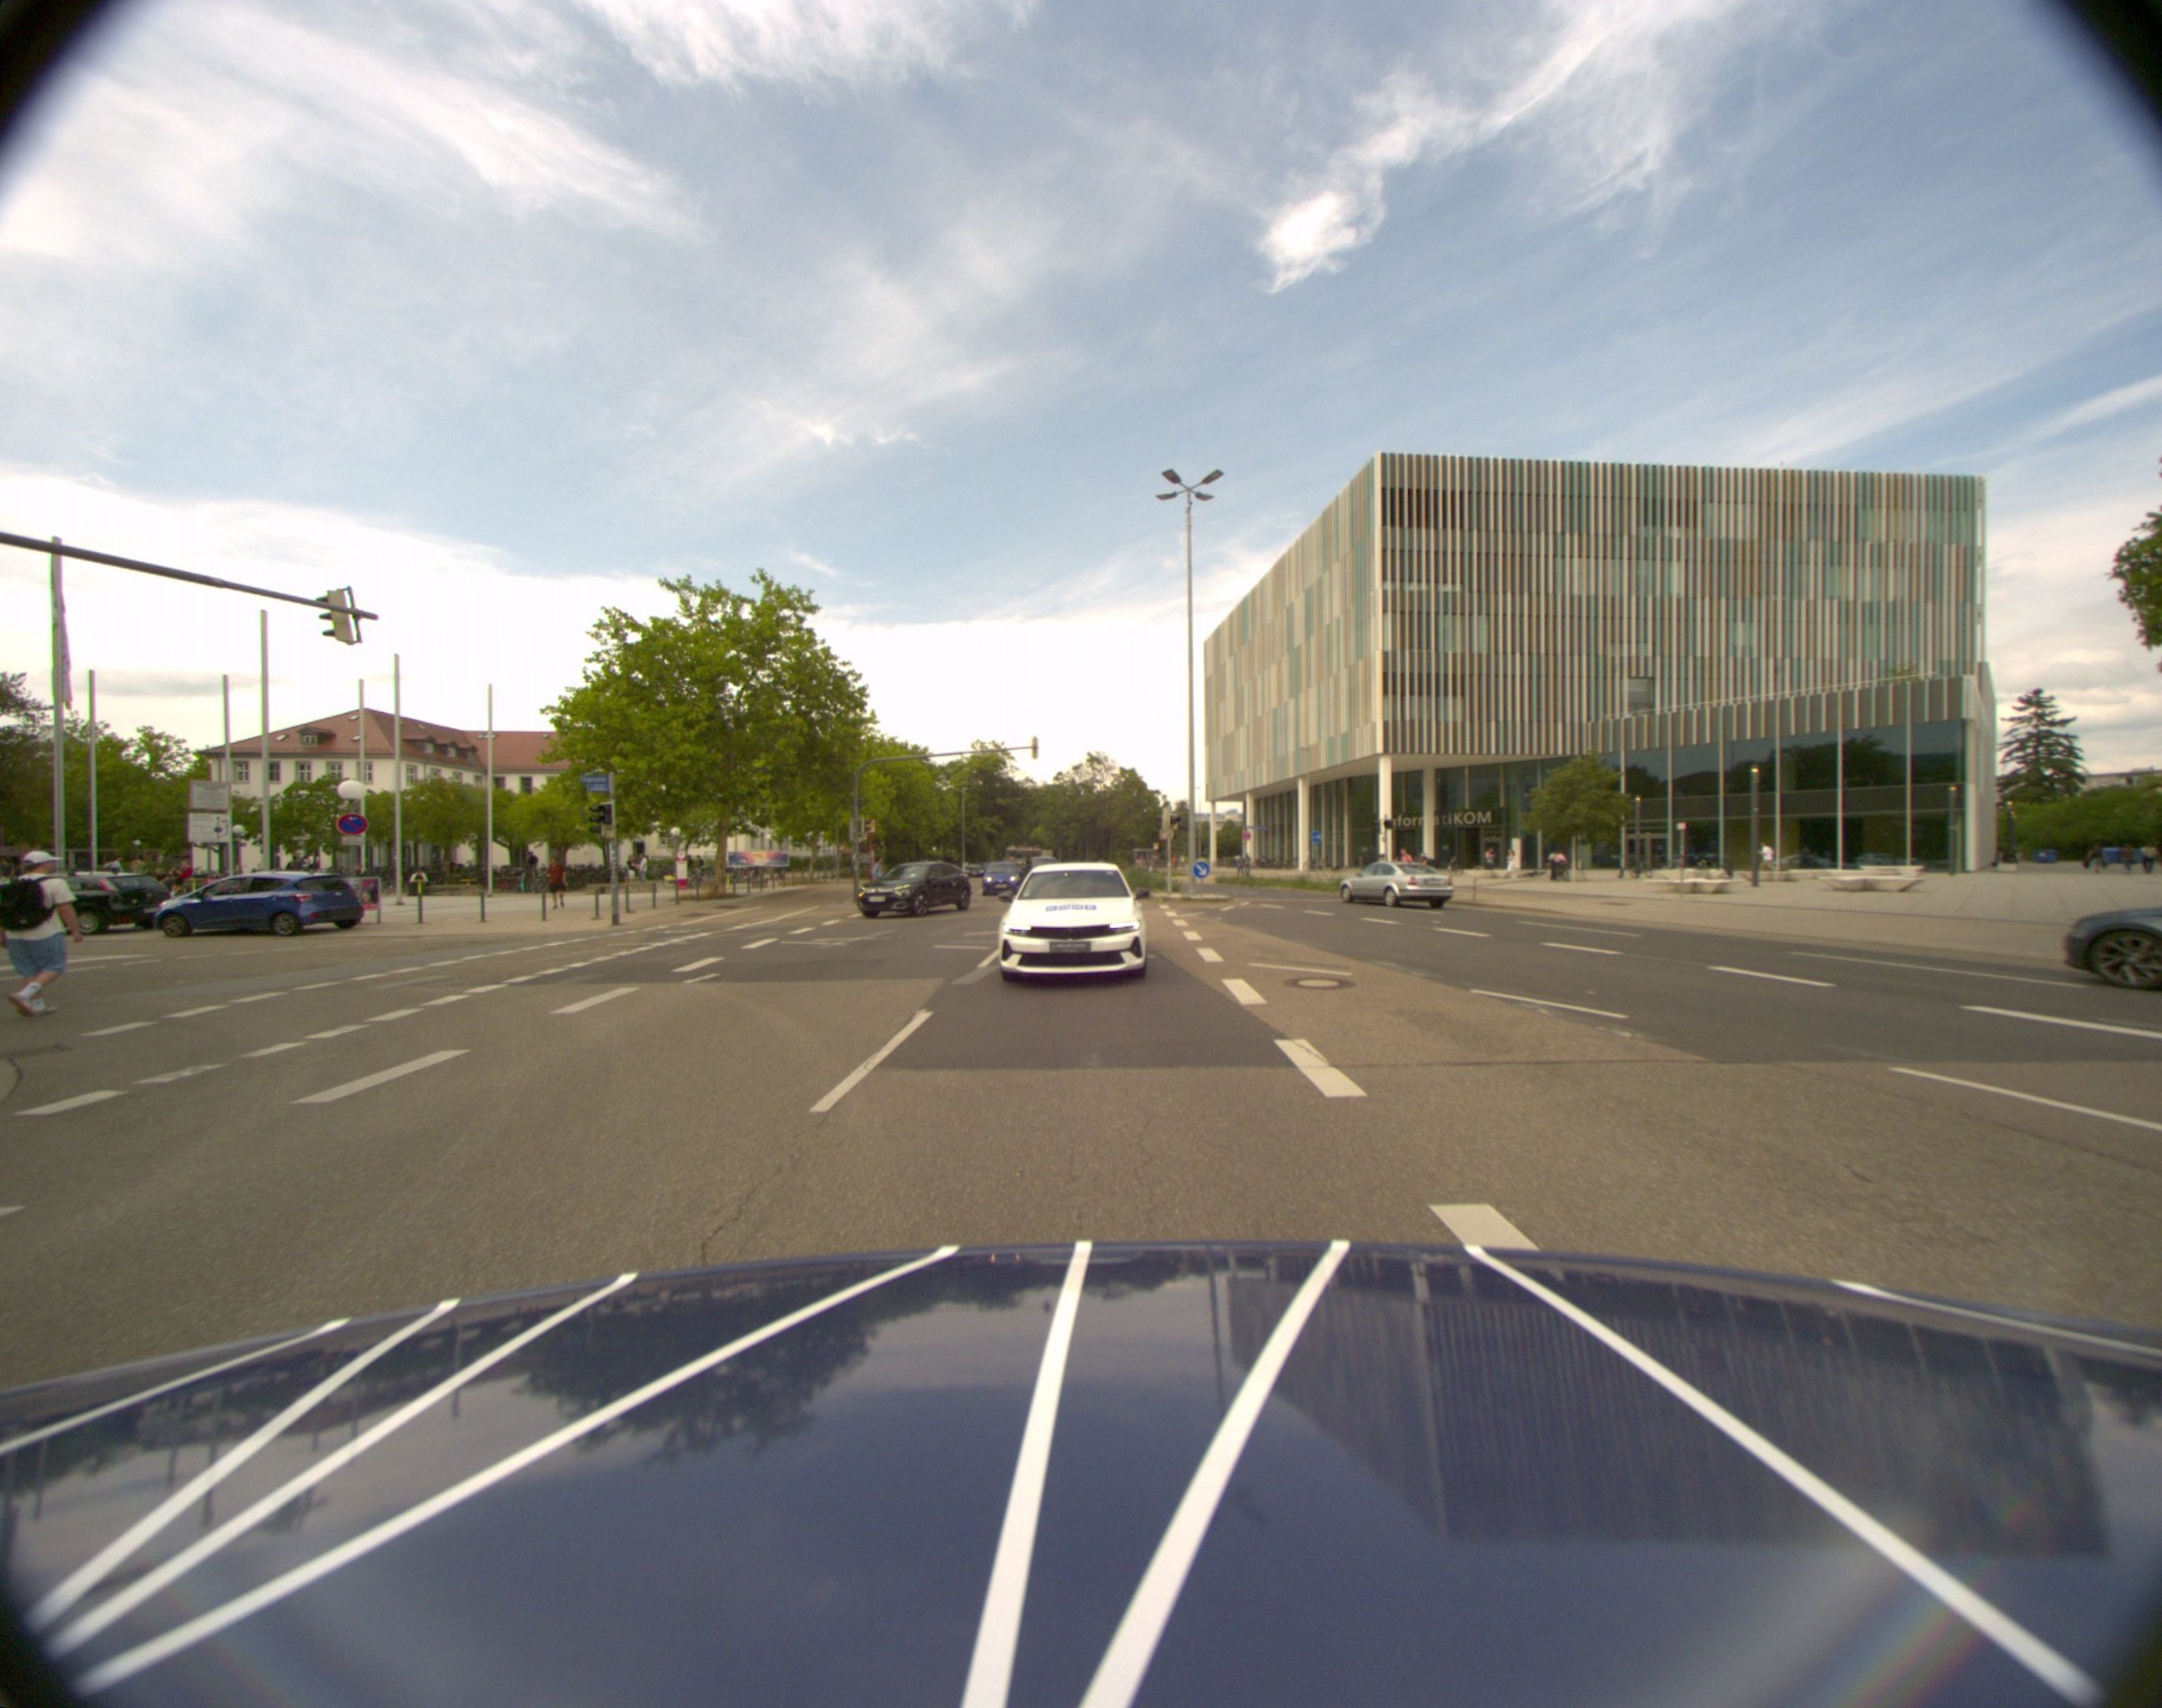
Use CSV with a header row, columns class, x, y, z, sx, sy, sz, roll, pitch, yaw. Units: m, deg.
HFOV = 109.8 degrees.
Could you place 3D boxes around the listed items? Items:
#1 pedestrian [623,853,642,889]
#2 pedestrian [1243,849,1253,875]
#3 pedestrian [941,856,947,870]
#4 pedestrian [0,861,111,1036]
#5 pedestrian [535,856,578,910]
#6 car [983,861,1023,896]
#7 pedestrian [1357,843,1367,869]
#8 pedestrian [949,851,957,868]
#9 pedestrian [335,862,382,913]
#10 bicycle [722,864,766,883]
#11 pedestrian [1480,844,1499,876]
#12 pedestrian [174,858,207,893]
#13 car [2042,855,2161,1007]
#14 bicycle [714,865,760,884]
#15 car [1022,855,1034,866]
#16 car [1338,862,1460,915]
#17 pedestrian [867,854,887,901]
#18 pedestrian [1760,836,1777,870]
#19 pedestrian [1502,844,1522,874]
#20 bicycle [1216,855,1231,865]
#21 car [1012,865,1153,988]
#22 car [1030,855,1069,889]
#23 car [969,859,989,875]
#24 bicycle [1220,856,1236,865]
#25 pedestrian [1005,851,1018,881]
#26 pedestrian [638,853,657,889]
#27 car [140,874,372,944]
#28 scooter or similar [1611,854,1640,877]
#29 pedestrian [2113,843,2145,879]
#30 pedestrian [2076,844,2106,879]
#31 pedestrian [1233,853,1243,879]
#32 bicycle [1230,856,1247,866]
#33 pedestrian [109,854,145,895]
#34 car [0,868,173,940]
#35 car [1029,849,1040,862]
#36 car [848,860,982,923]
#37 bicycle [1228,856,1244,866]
class,x,y,z,sx,sy,sz,roll,pitch,yaw
pedestrian,-24.662,0.927,41.789,0.687,1.952,0.601,-3,1,-44
pedestrian,11.929,0.581,54.241,0.512,1.826,0.624,-1,0,-5
pedestrian,-15.869,1.064,88.139,0.646,1.556,0.804,-1,0,-6
pedestrian,-11.625,1.009,8.427,0.647,1.842,0.828,-2,1,-16
pedestrian,-17.944,0.987,26.026,0.769,1.794,0.891,-2,1,0
car,-3.542,1.070,34.909,1.704,1.485,3.830,-1,0,-5
pedestrian,22.819,0.164,61.646,0.512,2.031,0.624,-1,0,-6
pedestrian,-14.881,0.636,88.265,0.798,1.922,0.759,-1,0,-5
pedestrian,-24.643,1.138,25.912,0.953,1.698,0.702,-2,1,14
bicycle,-21.313,1.239,48.067,2.473,1.136,0.717,-1,1,-3
pedestrian,22.564,0.331,41.997,0.732,1.730,0.676,-1,1,-38
pedestrian,-40.804,0.968,34.813,0.728,1.587,0.601,-2,1,-17
car,12.626,0.825,6.817,1.902,1.606,4.742,-1,0,-4
bicycle,-21.362,1.248,47.243,2.473,1.136,0.717,-1,1,-3
car,-8.808,1.093,125.862,1.662,1.455,3.997,10,0,-6
car,10.118,1.045,24.593,1.766,1.480,4.544,-1,0,-4
pedestrian,-7.896,0.904,29.457,0.574,1.806,0.681,-1,1,-1
pedestrian,36.170,-0.057,39.982,0.635,1.768,0.598,0,1,41
pedestrian,23.464,0.266,41.359,0.731,1.591,0.677,-1,1,-35
bicycle,17.141,0.718,91.424,1.704,1.017,0.434,-3,1,-10
car,-0.181,0.930,11.807,1.745,1.430,4.780,-1,0,-5
car,-1.688,0.910,39.631,1.905,1.639,4.643,-1,0,-3
car,-9.401,1.173,70.323,1.704,1.361,3.830,-1,0,-5
bicycle,17.254,0.733,89.066,1.704,1.017,0.434,-3,1,-10
pedestrian,-4.244,0.731,46.553,0.727,1.843,1.064,-1,1,-6
pedestrian,-24.129,0.937,42.302,0.687,1.952,0.601,-3,1,-44
car,-19.881,1.284,18.457,3.581,1.483,1.673,-1,1,-5
scooter or similar,29.337,0.614,40.934,2.129,1.191,0.594,-1,0,-36
pedestrian,56.982,0.391,41.312,1.073,1.919,0.972,0,0,-38
pedestrian,55.669,0.428,41.900,1.073,1.919,0.972,0,0,-38
pedestrian,11.176,0.856,54.073,0.512,1.826,0.772,-1,0,-5
bicycle,17.540,0.741,84.594,1.704,1.017,0.434,-3,1,-10
pedestrian,-42.841,0.911,34.121,0.728,1.833,0.601,-2,1,-19
car,-24.678,1.166,18.136,3.694,1.558,1.673,-1,1,-5
car,-7.889,0.262,128.897,1.840,2.002,3.999,-1,0,-2
car,-4.718,1.026,22.217,1.801,1.547,4.181,-2,1,20
bicycle,17.450,0.756,85.441,1.704,1.017,0.434,-3,1,-10
